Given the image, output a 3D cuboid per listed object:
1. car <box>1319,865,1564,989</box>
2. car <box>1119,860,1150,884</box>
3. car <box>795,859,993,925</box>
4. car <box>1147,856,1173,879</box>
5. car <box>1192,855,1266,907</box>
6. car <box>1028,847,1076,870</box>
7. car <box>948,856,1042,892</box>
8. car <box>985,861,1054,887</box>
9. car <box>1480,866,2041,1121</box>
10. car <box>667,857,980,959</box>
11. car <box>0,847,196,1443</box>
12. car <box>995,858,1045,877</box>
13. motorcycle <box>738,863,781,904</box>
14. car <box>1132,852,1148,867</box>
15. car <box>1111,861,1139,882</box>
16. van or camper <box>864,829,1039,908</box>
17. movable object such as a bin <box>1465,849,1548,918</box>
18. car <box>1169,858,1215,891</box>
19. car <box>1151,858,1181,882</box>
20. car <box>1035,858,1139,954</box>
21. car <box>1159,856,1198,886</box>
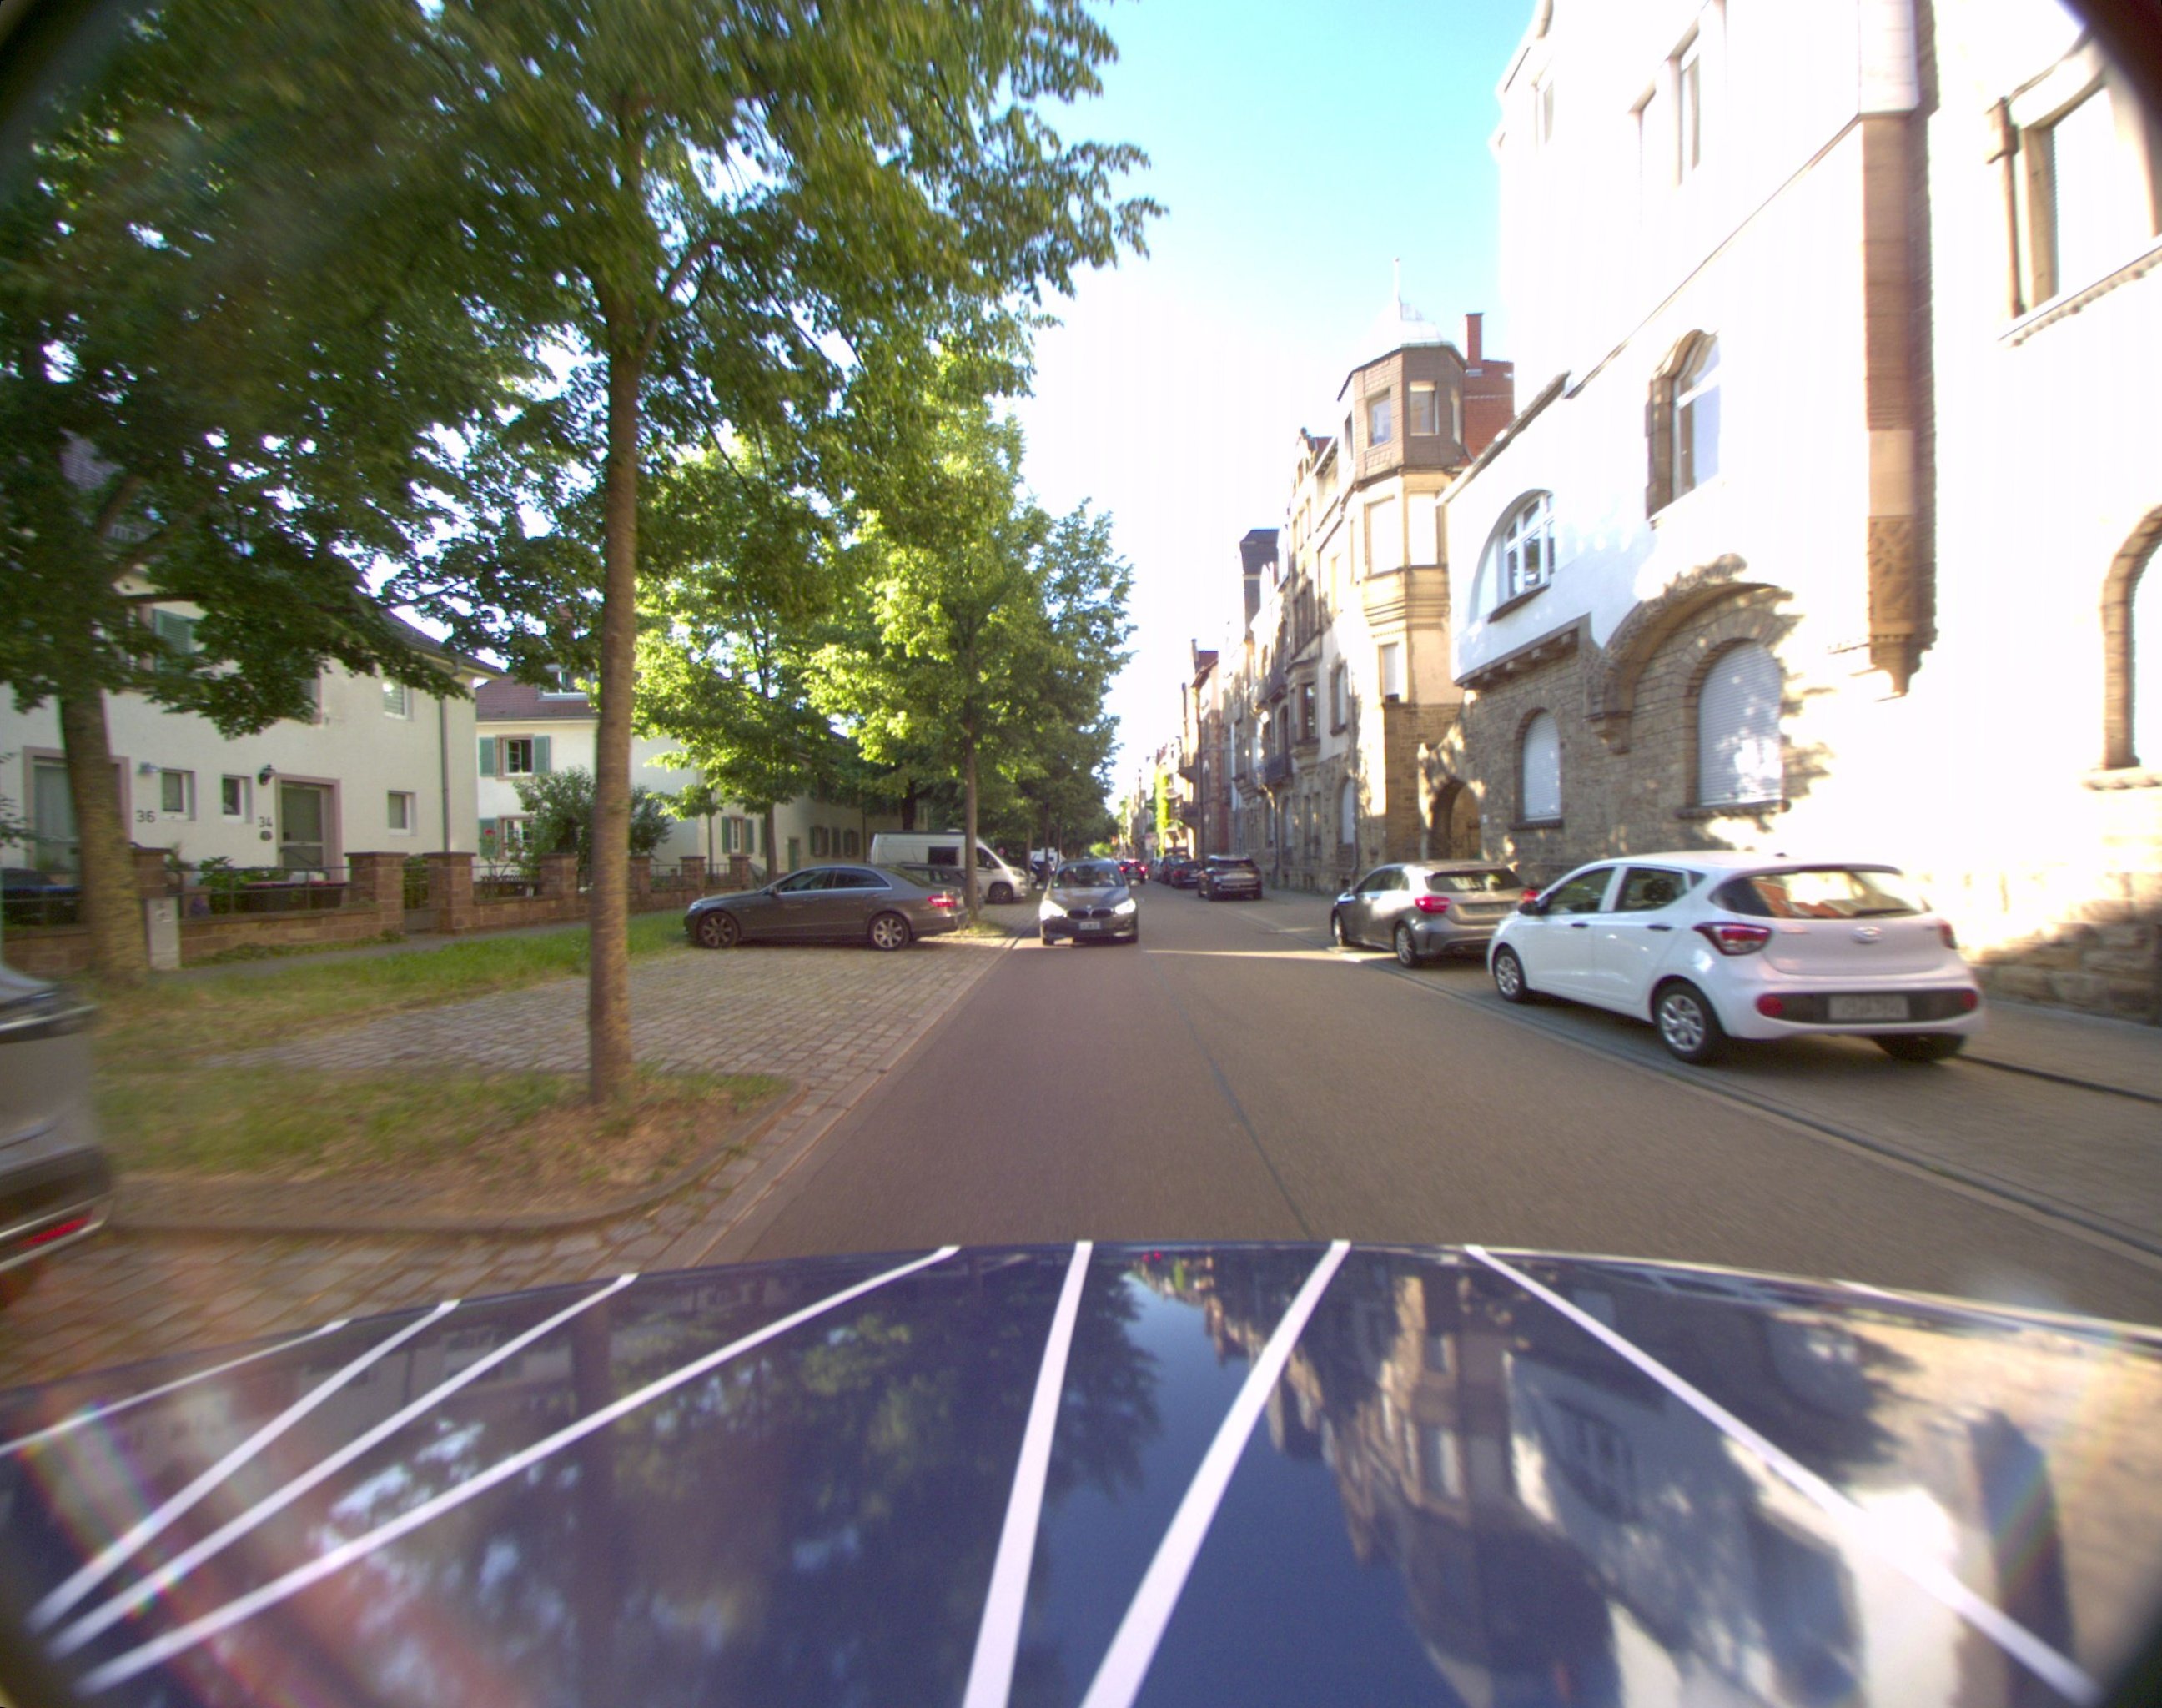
[{"bbox_3d":[5.113,0.940,11.479,1.681,1.434,4.111,-3,0,0],"label":"car"},{"bbox_3d":[3.374,1.125,48.570,1.631,1.469,3.759,0,0,-1],"label":"car"},{"bbox_3d":[-4.598,0.921,19.137,4.486,1.427,1.828,2,0,1],"label":"car"},{"bbox_3d":[5.903,1.042,57.101,1.633,1.496,3.856,-5,-1,2],"label":"car"},{"bbox_3d":[5.311,0.921,27.784,1.881,1.707,4.340,-2,0,1],"label":"car"},{"bbox_3d":[-3.293,0.517,87.504,5.448,2.646,2.134,0,0,1],"label":"car"},{"bbox_3d":[-4.354,1.009,39.198,4.606,1.706,2.000,1,0,-1],"label":"car"},{"bbox_3d":[-3.723,1.187,46.450,3.997,1.543,1.555,0,0,1],"label":"car"},{"bbox_3d":[5.037,0.879,6.389,1.570,1.461,3.592,-2,0,3],"label":"car"},{"bbox_3d":[-4.362,0.898,13.453,4.850,1.530,1.894,2,0,-1],"label":"car"},{"bbox_3d":[-5.193,0.734,1.573,4.487,1.624,1.875,2,0,0],"label":"car"},{"bbox_3d":[-4.905,1.113,61.873,3.998,1.503,1.572,0,0,-3],"label":"car"},{"bbox_3d":[-11.959,1.070,28.324,0.660,1.398,2.016,-3,1,1],"label":"motorcycle"},{"bbox_3d":[6.964,0.672,90.032,1.686,1.496,3.629,-5,-1,2],"label":"car"},{"bbox_3d":[3.495,1.360,60.726,1.868,1.454,4.568,-2,1,0],"label":"car"},{"bbox_3d":[-4.467,0.507,26.863,5.733,2.502,2.162,2,0,0],"label":"van or camper"},{"bbox_3d":[9.679,0.648,17.328,1.196,1.470,1.174,-3,1,1],"label":"movable object such as a bin"},{"bbox_3d":[5.686,1.024,39.354,1.774,1.493,4.211,-1,1,1],"label":"car"},{"bbox_3d":[5.741,1.099,51.480,1.633,1.439,3.856,-5,-1,2],"label":"car"},{"bbox_3d":[0.170,0.929,15.455,1.753,1.596,4.551,-2,-1,2],"label":"car"},{"bbox_3d":[5.803,0.975,45.740,1.774,1.658,4.212,-2,0,1],"label":"car"}]
